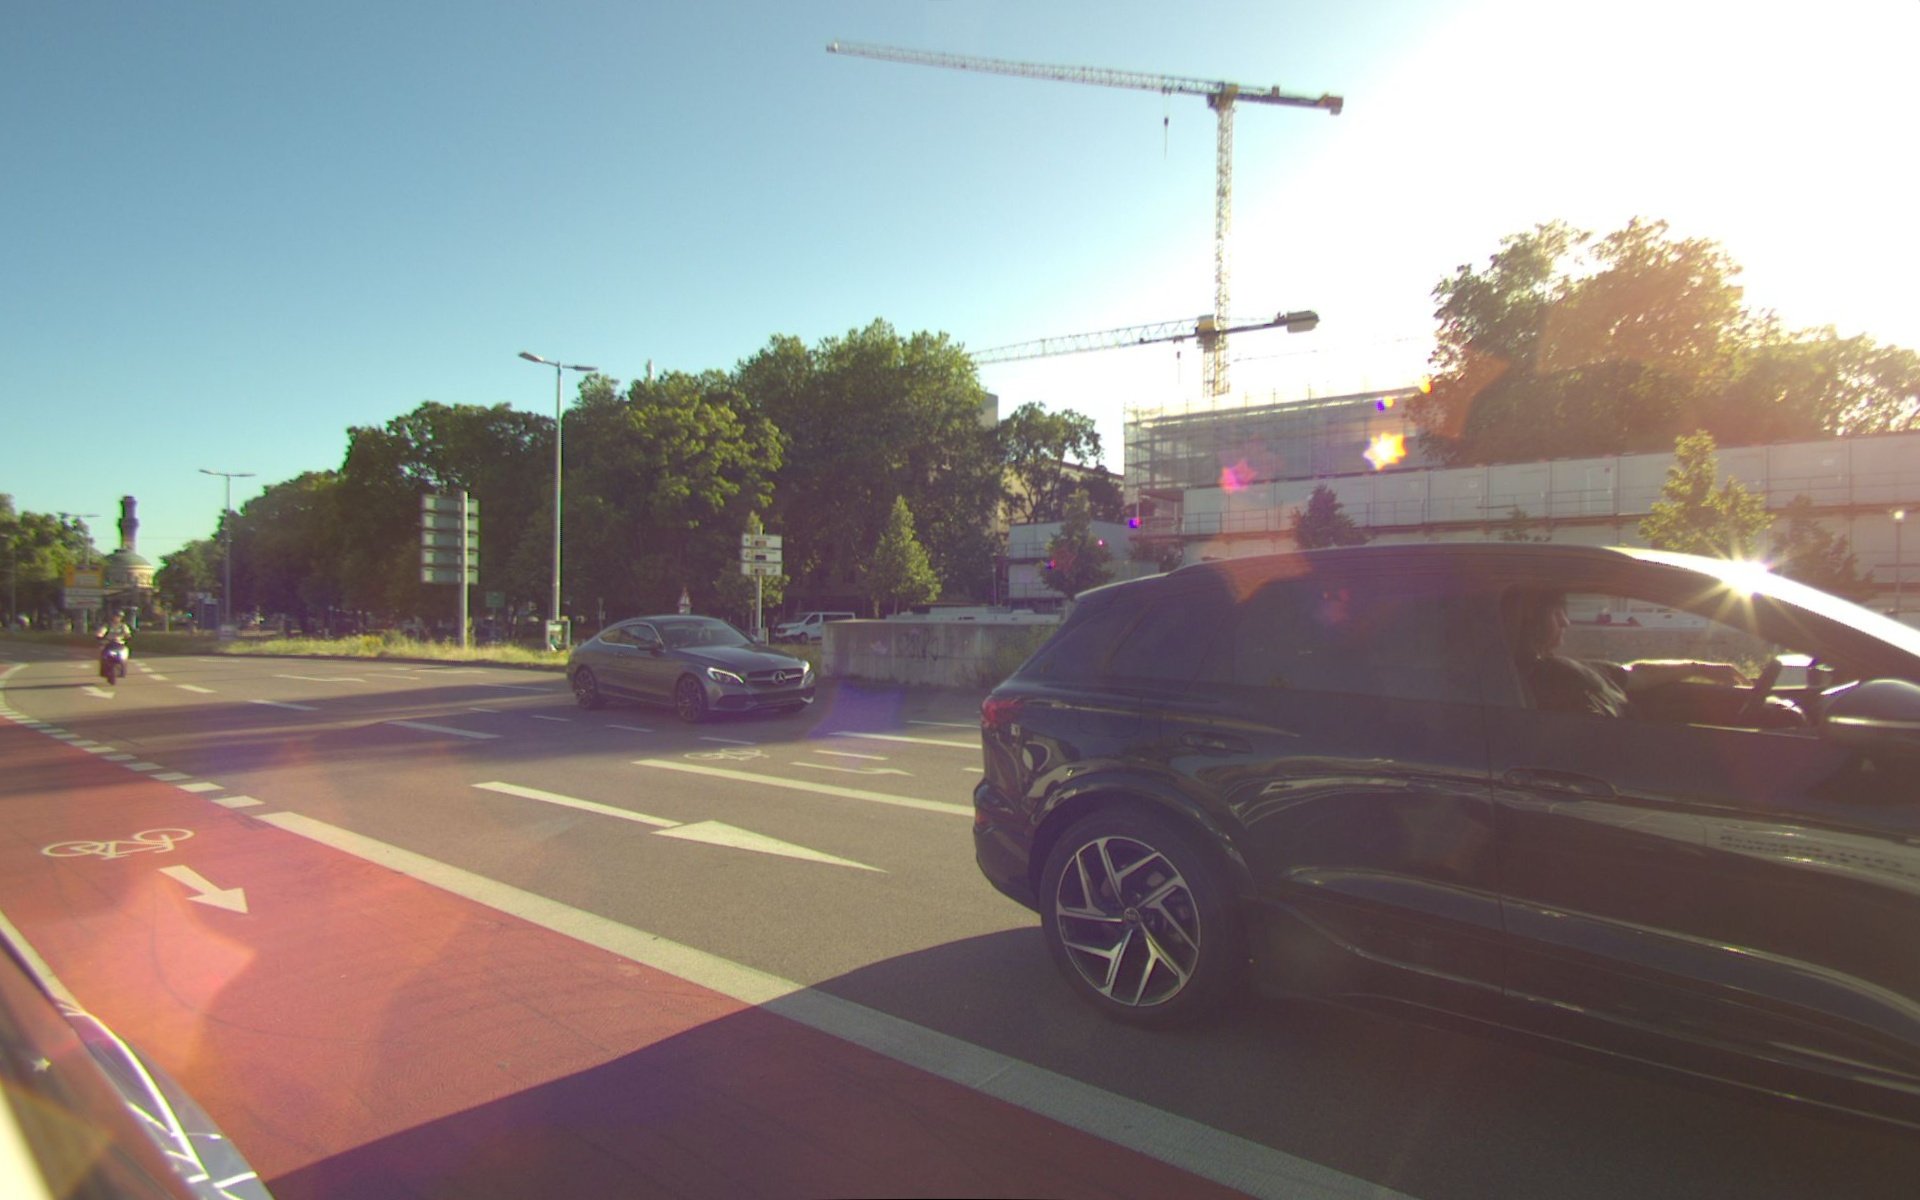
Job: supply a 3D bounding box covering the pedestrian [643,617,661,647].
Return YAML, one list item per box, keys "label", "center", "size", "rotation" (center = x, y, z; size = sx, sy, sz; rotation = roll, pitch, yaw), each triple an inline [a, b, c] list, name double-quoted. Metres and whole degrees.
- label: "pedestrian"
  center: [-17.825, 1.830, 58.557]
  size: [0.762, 1.738, 0.698]
  rotation: [-1, -2, 42]

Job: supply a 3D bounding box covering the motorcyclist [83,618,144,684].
- label: "motorcyclist"
  center: [-18.998, 1.117, 22.718]
  size: [0.961, 1.424, 1.059]
  rotation: [0, -1, -45]

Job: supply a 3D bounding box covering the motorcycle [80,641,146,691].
- label: "motorcycle"
  center: [-19.181, 1.464, 22.900]
  size: [0.961, 1.022, 2.268]
  rotation: [-1, -1, -45]

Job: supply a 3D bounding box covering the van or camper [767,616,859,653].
- label: "van or camper"
  center: [-8.938, 2.073, 61.947]
  size: [1.948, 2.029, 5.576]
  rotation: [-1, 0, 42]

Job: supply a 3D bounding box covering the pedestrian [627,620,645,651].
- label: "pedestrian"
  center: [-18.480, 2.000, 57.711]
  size: [0.762, 1.738, 0.656]
  rotation: [-1, -2, 41]

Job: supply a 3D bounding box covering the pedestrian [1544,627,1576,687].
- label: "pedestrian"
  center: [17.068, 1.606, 28.793]
  size: [0.626, 1.665, 0.930]
  rotation: [-1, -2, 41]

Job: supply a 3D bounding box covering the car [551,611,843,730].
- label: "car"
  center: [-3.920, 0.908, 14.618]
  size: [4.488, 1.417, 1.972]
  rotation: [-1, 0, 43]

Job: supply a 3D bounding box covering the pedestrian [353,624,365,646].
- label: "pedestrian"
  center: [-49.884, 2.889, 83.989]
  size: [0.924, 1.862, 0.620]
  rotation: [-1, -2, 40]

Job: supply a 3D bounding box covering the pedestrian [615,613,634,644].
- label: "pedestrian"
  center: [-18.910, 1.588, 57.024]
  size: [0.762, 1.738, 0.698]
  rotation: [-1, -2, 41]

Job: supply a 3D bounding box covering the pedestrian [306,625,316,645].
- label: "pedestrian"
  center: [-59.193, 3.175, 92.298]
  size: [0.733, 1.862, 0.561]
  rotation: [-1, -2, 40]

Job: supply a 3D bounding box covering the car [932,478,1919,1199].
- label: "car"
  center: [2.270, 0.584, 3.231]
  size: [4.612, 1.656, 1.913]
  rotation: [-1, -1, 39]

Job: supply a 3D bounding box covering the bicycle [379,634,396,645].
- label: "bicycle"
  center: [-45.099, 3.105, 79.693]
  size: [1.744, 0.849, 0.602]
  rotation: [-1, -2, 40]

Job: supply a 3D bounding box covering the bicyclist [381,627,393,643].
- label: "bicyclist"
  center: [-45.097, 2.753, 79.703]
  size: [0.714, 1.291, 0.603]
  rotation: [-1, -2, 40]
